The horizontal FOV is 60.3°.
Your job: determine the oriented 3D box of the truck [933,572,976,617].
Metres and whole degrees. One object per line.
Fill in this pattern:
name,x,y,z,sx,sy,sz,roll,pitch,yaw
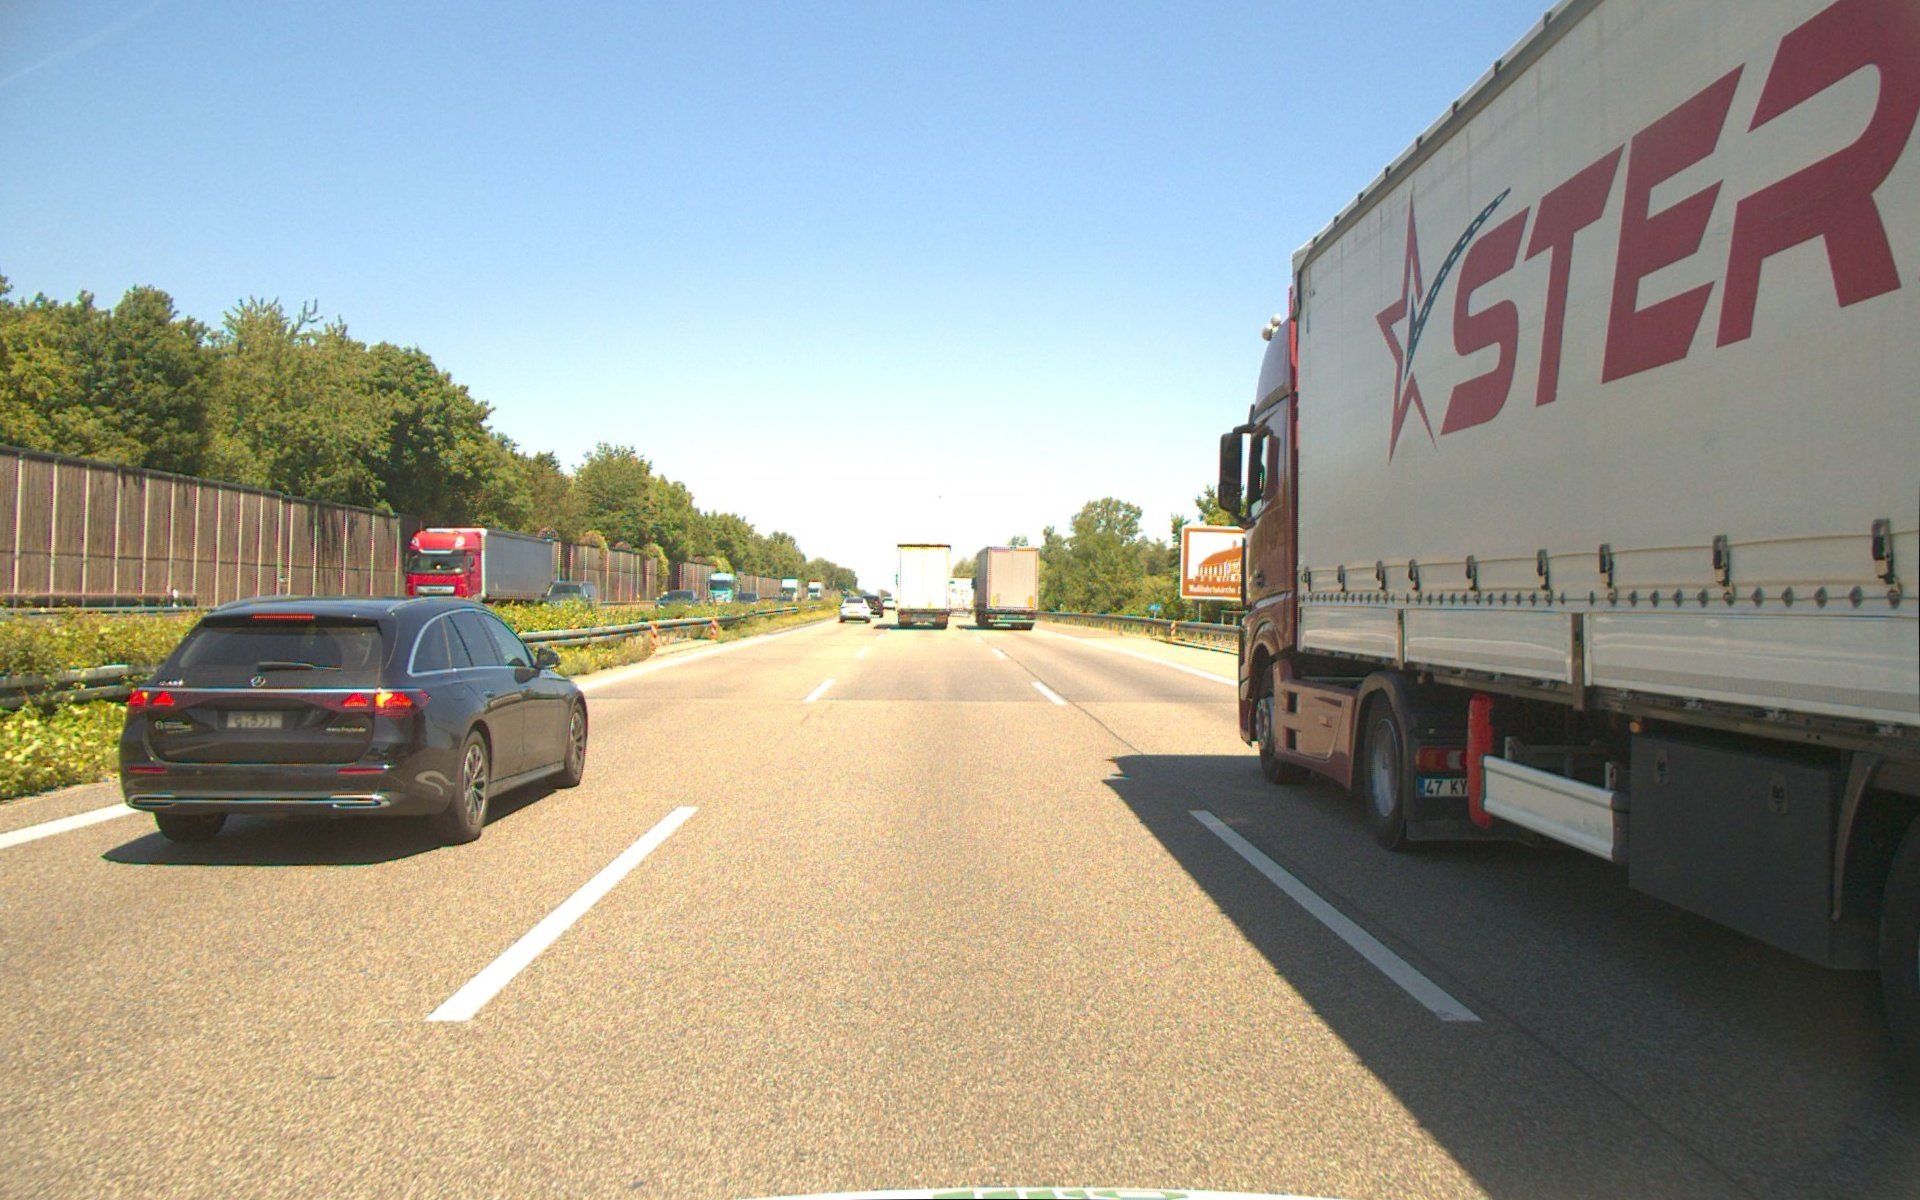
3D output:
truck,-0.622,-0.583,172.474,3.309,4.378,11.438,4,0,-5

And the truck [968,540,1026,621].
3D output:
truck,2.022,-1.041,92.315,2.637,4.289,7.834,2,0,-2

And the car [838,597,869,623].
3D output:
car,-6.337,0.595,98.636,1.818,1.512,3.997,1,0,-4

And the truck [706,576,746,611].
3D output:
truck,-25.723,-0.706,182.294,3.028,3.739,12.362,1,0,-2

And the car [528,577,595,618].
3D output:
car,-18.591,-0.101,77.326,1.953,1.847,5.218,1,0,-2

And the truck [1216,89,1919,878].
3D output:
truck,3.816,-0.621,12.292,2.652,4.160,6.963,1,0,0

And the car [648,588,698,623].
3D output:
car,-14.962,0.304,86.452,1.953,1.750,4.244,1,0,-2

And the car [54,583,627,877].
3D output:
car,-3.849,0.676,11.637,1.904,1.533,5.820,1,0,-1

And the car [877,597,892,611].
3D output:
car,-9.457,0.481,206.886,1.819,1.645,3.997,1,0,-4

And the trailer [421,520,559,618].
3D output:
trailer,-21.751,-1.291,77.592,2.445,4.159,14.269,0,0,0

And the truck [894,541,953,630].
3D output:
truck,-1.998,-0.679,85.189,2.653,4.157,13.467,2,0,-2

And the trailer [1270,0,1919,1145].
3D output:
trailer,3.902,-0.601,6.000,2.652,4.160,14.148,1,0,-1

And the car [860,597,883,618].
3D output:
car,-6.935,0.565,129.589,1.818,1.645,3.998,1,0,-3

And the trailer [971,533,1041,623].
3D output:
trailer,2.253,-1.045,86.437,2.649,4.289,13.205,2,0,-2

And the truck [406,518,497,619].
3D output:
truck,-21.730,-1.295,70.897,2.436,4.159,4.677,0,0,0
